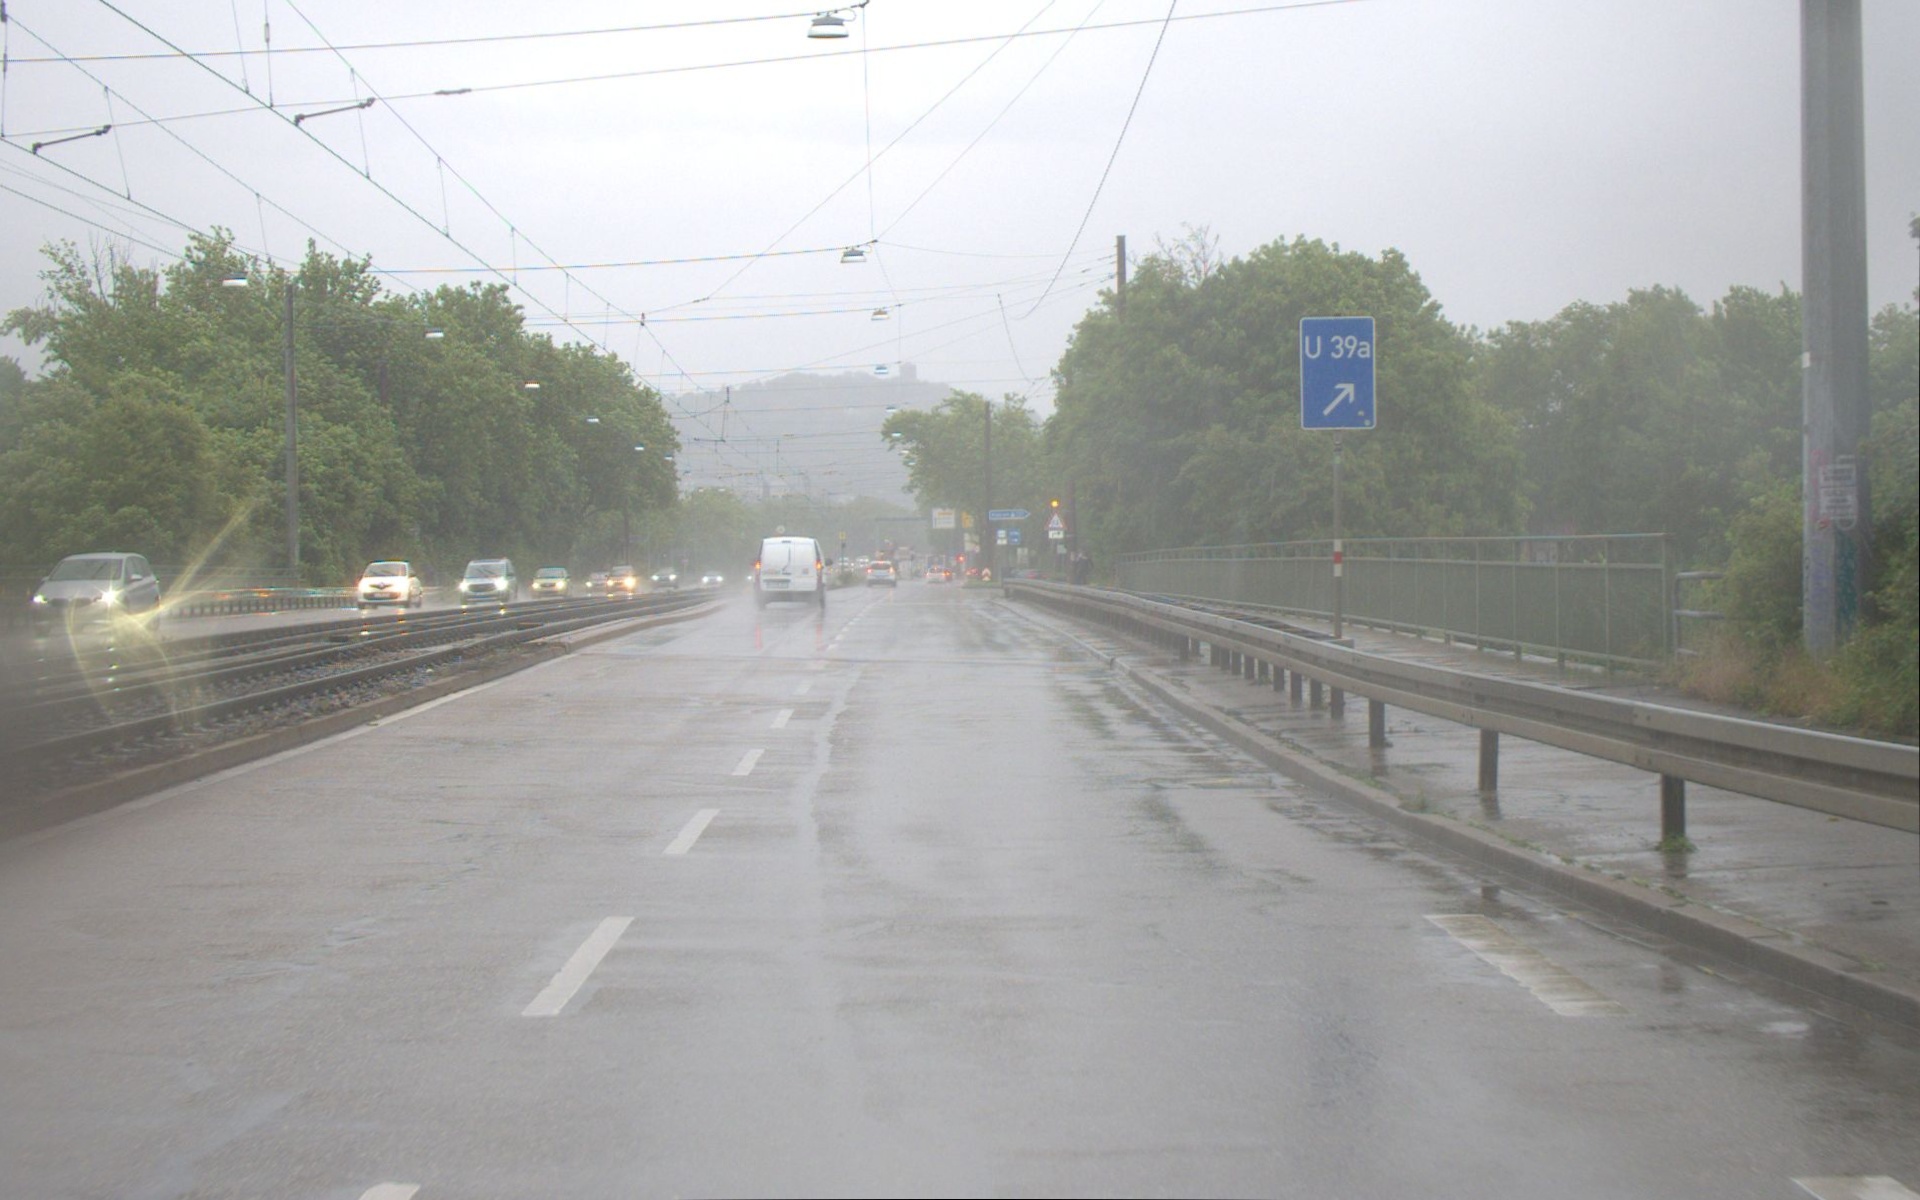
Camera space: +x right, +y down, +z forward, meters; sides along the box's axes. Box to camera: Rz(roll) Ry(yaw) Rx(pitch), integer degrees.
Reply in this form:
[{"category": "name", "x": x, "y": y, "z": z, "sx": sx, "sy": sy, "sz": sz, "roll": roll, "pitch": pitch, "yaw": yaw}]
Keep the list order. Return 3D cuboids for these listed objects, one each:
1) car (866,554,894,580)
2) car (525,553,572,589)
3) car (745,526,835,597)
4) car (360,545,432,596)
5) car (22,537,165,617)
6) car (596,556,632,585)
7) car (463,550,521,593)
[{"category": "car", "x": -4.990, "y": -2.055, "z": 214.431, "sx": 1.743, "sy": 1.503, "sz": 3.700, "roll": 1, "pitch": 2, "yaw": -1}, {"category": "car", "x": -18.879, "y": -1.332, "z": 157.869, "sx": 1.743, "sy": 1.503, "sz": 3.700, "roll": 1, "pitch": 2, "yaw": -1}, {"category": "car", "x": -4.245, "y": -0.985, "z": 86.504, "sx": 1.989, "sy": 1.678, "sz": 3.740, "roll": 1, "pitch": 2, "yaw": 1}, {"category": "car", "x": -18.160, "y": -0.964, "z": 110.761, "sx": 1.743, "sy": 1.503, "sz": 3.700, "roll": 1, "pitch": 2, "yaw": -1}, {"category": "car", "x": -17.294, "y": -0.484, "z": 68.801, "sx": 1.797, "sy": 1.448, "sz": 4.195, "roll": 1, "pitch": 2, "yaw": 0}, {"category": "car", "x": -19.898, "y": -1.704, "z": 197.655, "sx": 1.743, "sy": 1.503, "sz": 3.700, "roll": 1, "pitch": 2, "yaw": -1}, {"category": "car", "x": -17.982, "y": -1.104, "z": 132.184, "sx": 1.743, "sy": 1.503, "sz": 3.700, "roll": 1, "pitch": 2, "yaw": -1}]
